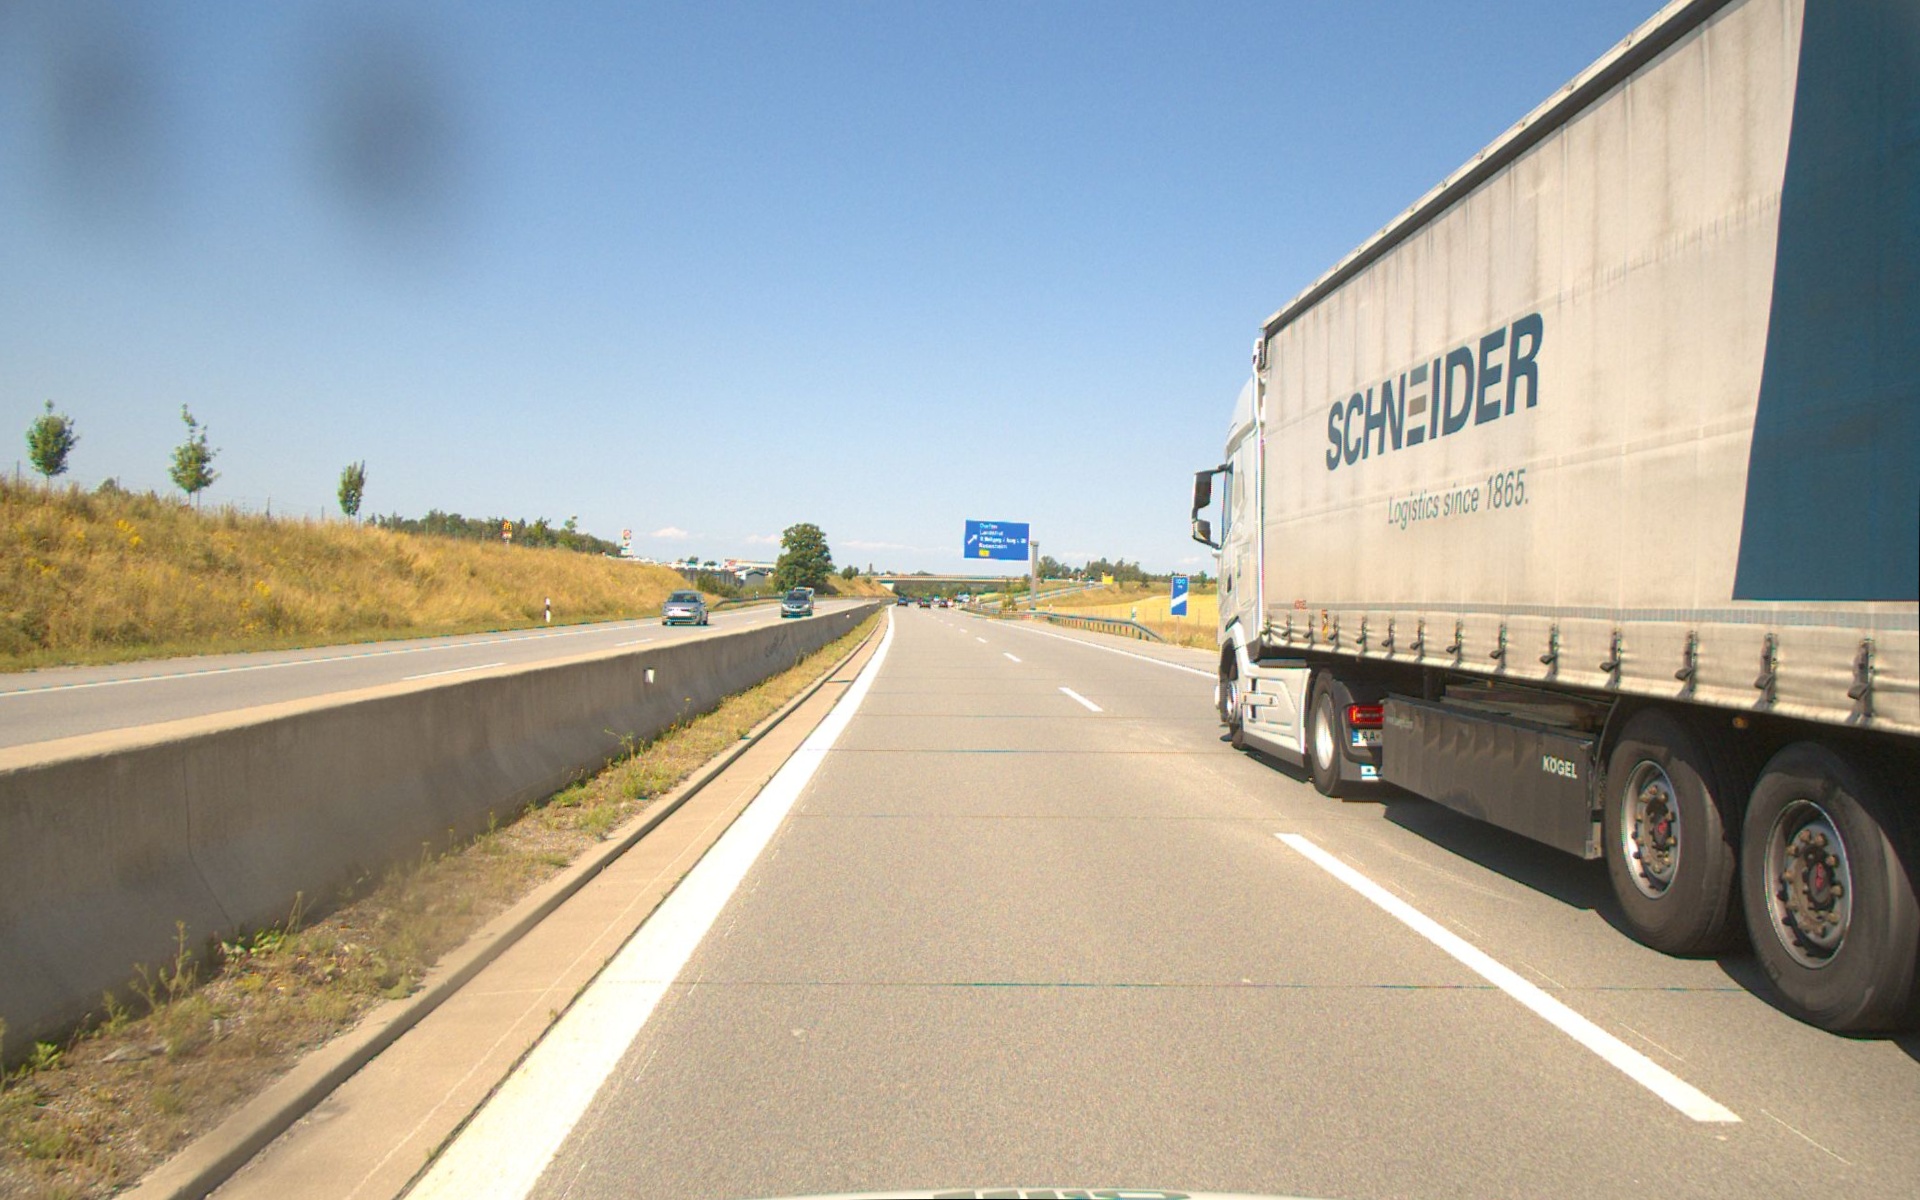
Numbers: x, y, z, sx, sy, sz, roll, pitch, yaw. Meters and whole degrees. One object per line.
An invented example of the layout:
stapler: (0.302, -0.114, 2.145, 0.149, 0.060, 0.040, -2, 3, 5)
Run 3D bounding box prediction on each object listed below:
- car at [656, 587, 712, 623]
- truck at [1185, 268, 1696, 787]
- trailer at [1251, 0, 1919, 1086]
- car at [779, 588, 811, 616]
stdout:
car: (-11.928, 0.206, 71.772, 1.841, 1.528, 4.563, 0, 0, -3)
truck: (4.248, -0.602, 16.225, 3.020, 4.084, 6.187, -1, 0, -2)
trailer: (4.495, -0.693, 8.022, 3.112, 4.369, 15.456, -1, 0, -1)
car: (-10.064, 0.104, 100.888, 1.843, 1.603, 4.560, 1, 0, -5)
